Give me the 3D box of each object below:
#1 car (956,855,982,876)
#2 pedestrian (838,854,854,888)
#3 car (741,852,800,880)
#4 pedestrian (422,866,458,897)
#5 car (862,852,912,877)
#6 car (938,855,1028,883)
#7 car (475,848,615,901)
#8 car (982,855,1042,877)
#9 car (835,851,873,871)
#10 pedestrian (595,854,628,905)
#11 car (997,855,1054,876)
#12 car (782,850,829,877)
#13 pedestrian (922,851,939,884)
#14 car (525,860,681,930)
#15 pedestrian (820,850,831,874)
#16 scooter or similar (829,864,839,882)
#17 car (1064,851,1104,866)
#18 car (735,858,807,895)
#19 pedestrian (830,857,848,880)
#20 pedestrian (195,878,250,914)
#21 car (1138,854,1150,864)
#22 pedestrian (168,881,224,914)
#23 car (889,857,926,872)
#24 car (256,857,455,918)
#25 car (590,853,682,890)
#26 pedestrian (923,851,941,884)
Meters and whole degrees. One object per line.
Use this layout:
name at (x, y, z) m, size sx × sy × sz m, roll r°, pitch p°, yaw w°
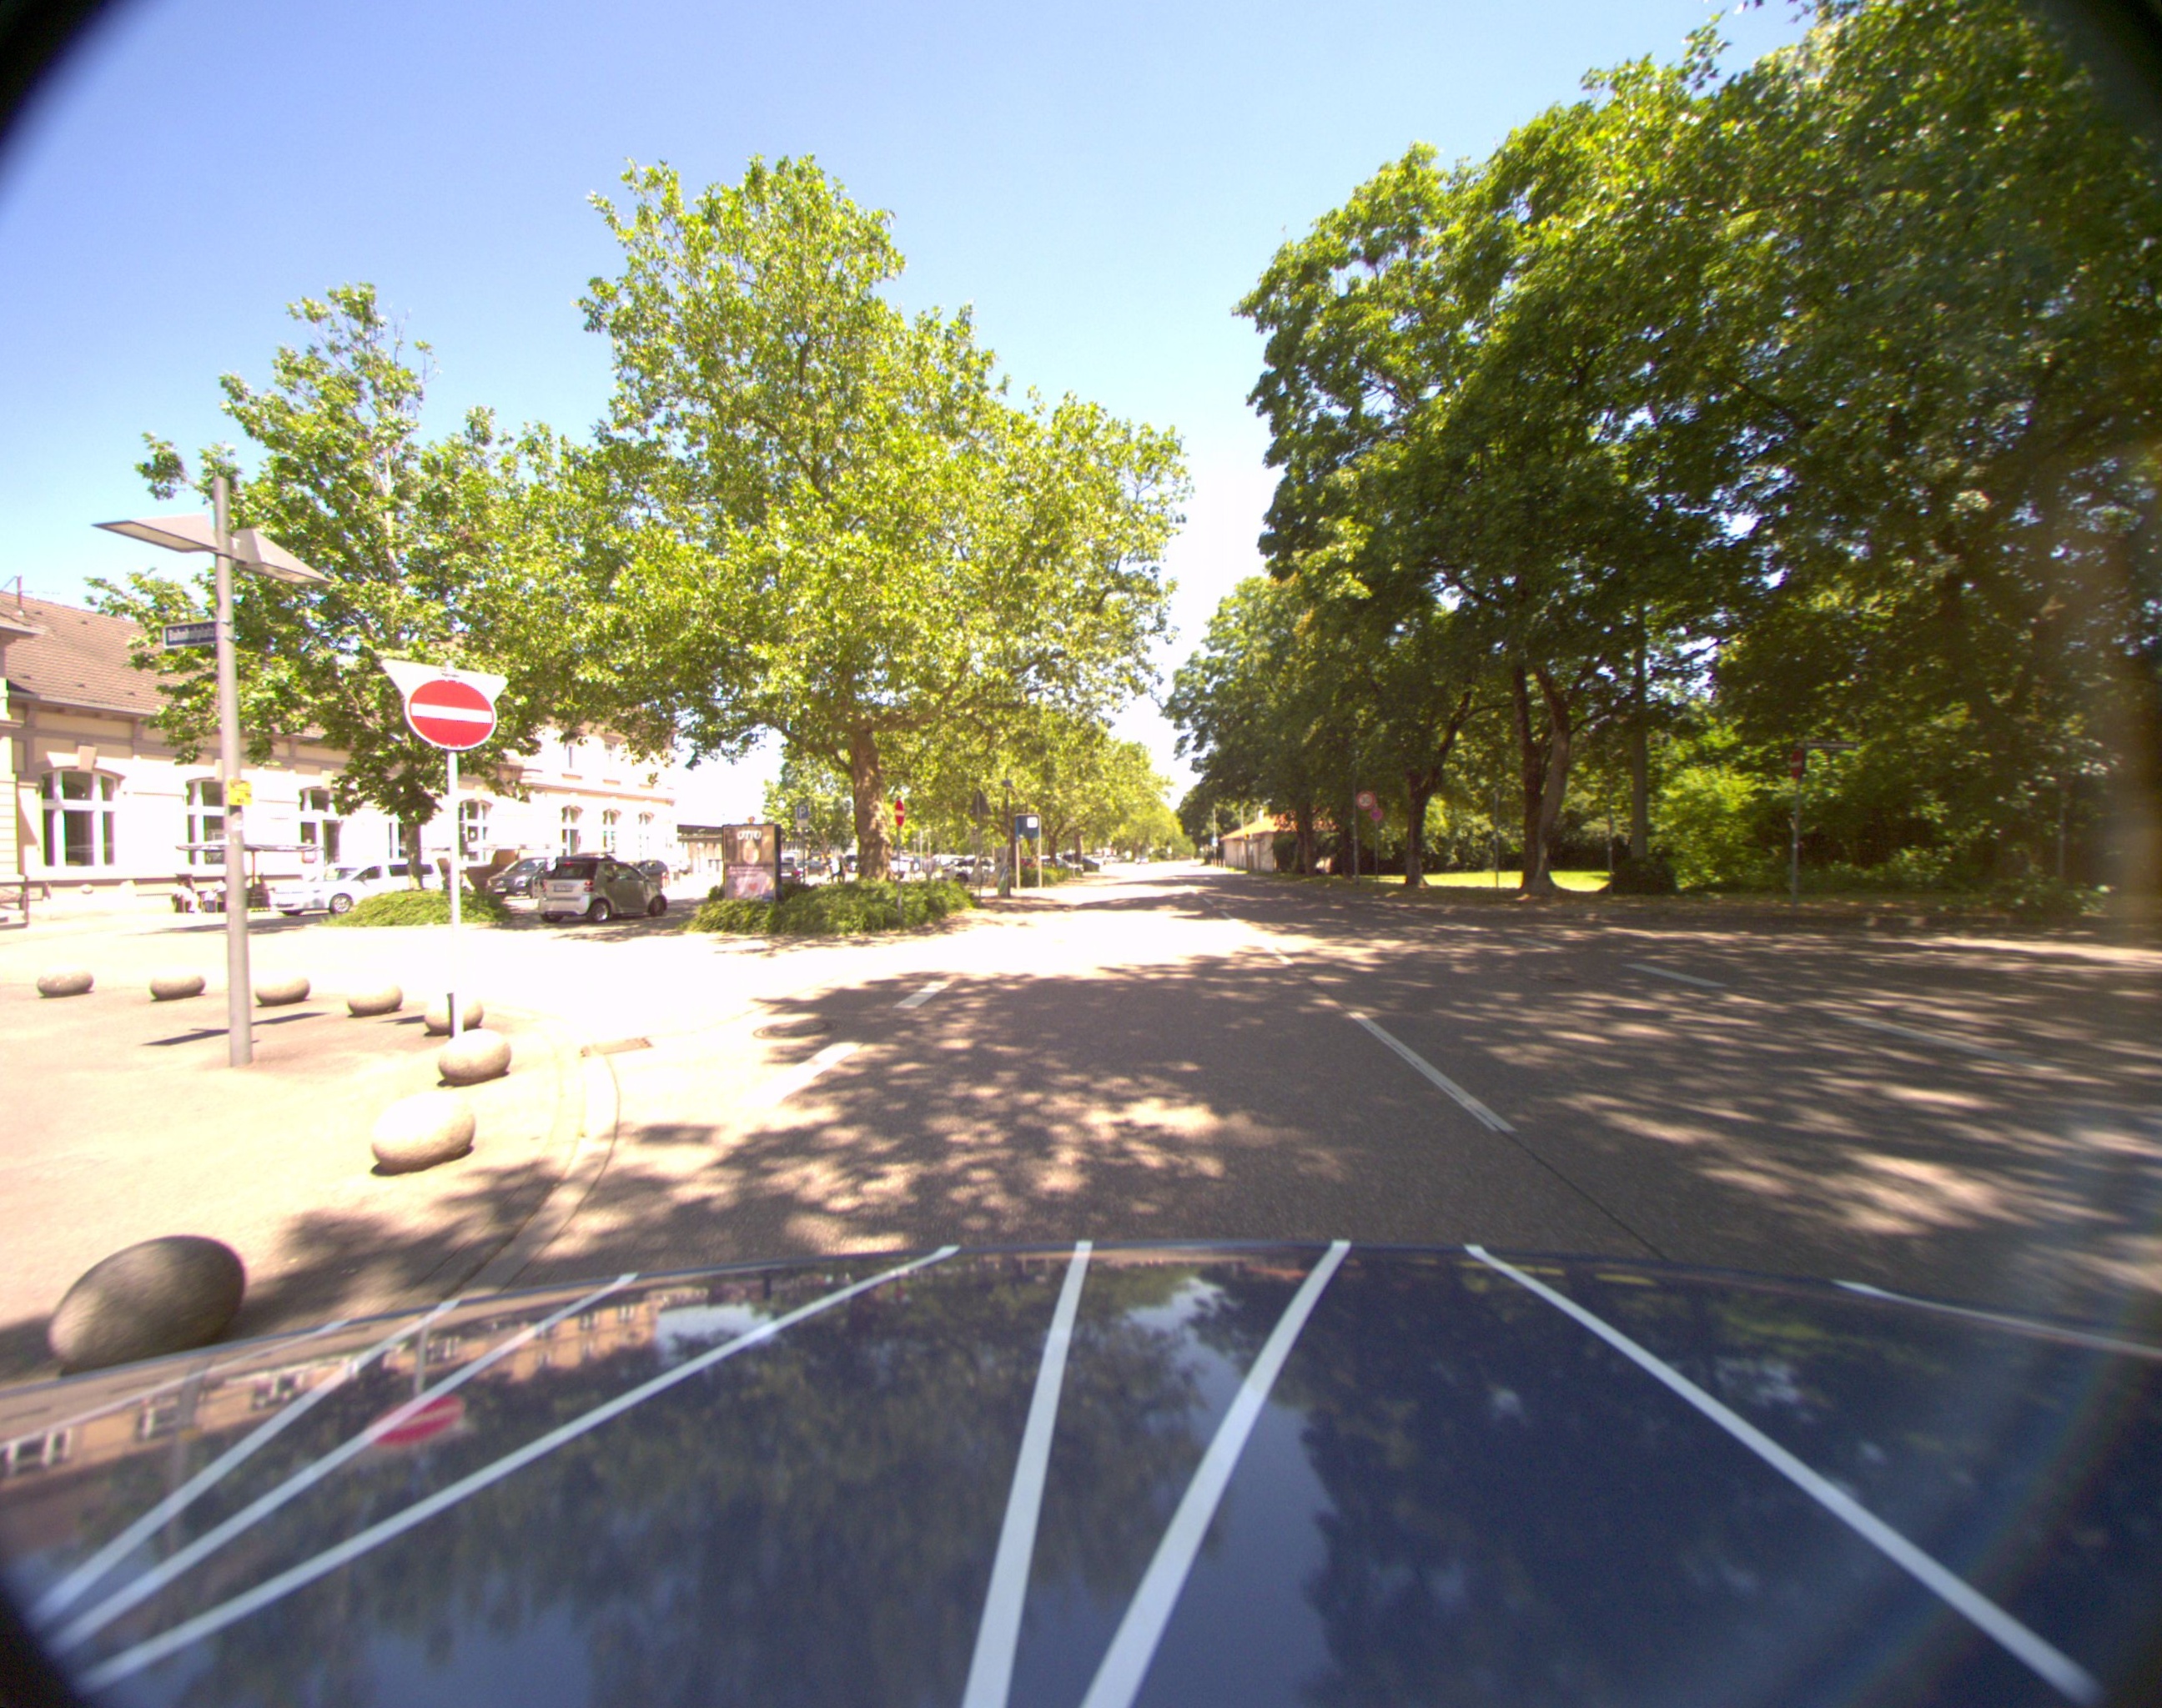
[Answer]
car at (-10.800, 1.102, 73.165) m, size 1.740 × 1.882 × 3.993 m, roll -1°, pitch 0°, yaw -18°
pedestrian at (-10.944, 0.775, 35.365) m, size 0.590 × 1.539 × 0.610 m, roll 0°, pitch 1°, yaw -8°
car at (-22.414, 0.853, 55.161) m, size 2.003 × 1.829 × 5.317 m, roll -3°, pitch 0°, yaw 0°
pedestrian at (-29.390, 1.266, 34.849) m, size 0.881 × 1.363 × 0.852 m, roll 1°, pitch 1°, yaw 1°
car at (-13.653, 0.717, 53.327) m, size 1.804 × 1.596 × 4.051 m, roll -3°, pitch 3°, yaw -40°
car at (-5.507, 0.803, 42.633) m, size 4.780 × 1.409 × 1.784 m, roll -1°, pitch 1°, yaw -14°
car at (-23.891, 0.877, 34.246) m, size 2.092 × 2.111 × 5.826 m, roll -2°, pitch 0°, yaw 0°
car at (-4.845, 0.825, 53.415) m, size 3.881 × 1.452 × 1.633 m, roll -1°, pitch 1°, yaw -23°
car at (-22.683, 0.642, 76.125) m, size 1.998 × 1.779 × 4.248 m, roll -3°, pitch 1°, yaw 6°
pedestrian at (-16.197, 0.871, 26.215) m, size 0.775 × 1.707 × 0.812 m, roll -2°, pitch 1°, yaw -42°
car at (-4.137, 0.842, 56.793) m, size 3.881 × 1.452 × 1.633 m, roll -1°, pitch 1°, yaw -23°
car at (-22.295, 0.724, 61.723) m, size 2.003 × 1.978 × 4.602 m, roll -3°, pitch 0°, yaw 0°
pedestrian at (-8.325, 0.743, 42.070) m, size 0.839 × 1.760 × 0.850 m, roll -1°, pitch 1°, yaw -14°
car at (-12.110, 0.981, 19.473) m, size 1.599 × 1.584 × 3.109 m, roll -1°, pitch 1°, yaw 13°
pedestrian at (-21.706, 0.705, 64.448) m, size 0.628 × 1.978 × 0.617 m, roll -3°, pitch 1°, yaw 0°
scooter or similar at (-15.562, 1.188, 47.820) m, size 0.438 × 1.095 × 0.402 m, roll -2°, pitch 1°, yaw -42°
car at (0.282, 0.447, 77.964) m, size 3.876 × 1.452 × 1.635 m, roll -1°, pitch 1°, yaw -8°
car at (-15.102, 1.040, 36.879) m, size 1.804 × 1.534 × 4.516 m, roll -3°, pitch 3°, yaw -41°
pedestrian at (-15.106, 0.918, 47.466) m, size 0.802 × 1.416 × 0.689 m, roll -2°, pitch 1°, yaw -41°
pedestrian at (-29.000, 1.424, 25.691) m, size 0.881 × 1.155 × 0.852 m, roll 1°, pitch 1°, yaw 1°
car at (9.351, 0.720, 112.501) m, size 1.660 × 1.368 × 3.453 m, roll -4°, pitch 0°, yaw 6°
pedestrian at (-29.941, 1.464, 25.716) m, size 0.881 × 1.073 × 0.852 m, roll 1°, pitch 1°, yaw 1°
car at (-16.408, 1.002, 71.655) m, size 1.807 × 1.395 × 3.503 m, roll -1°, pitch 0°, yaw -45°
car at (-24.997, 1.072, 26.532) m, size 1.813 × 1.854 × 5.140 m, roll -2°, pitch 0°, yaw 3°
car at (-23.900, 0.913, 41.061) m, size 2.079 × 1.829 × 4.840 m, roll -2°, pitch 0°, yaw 0°
pedestrian at (-8.066, 0.735, 41.065) m, size 0.839 × 1.760 × 0.850 m, roll -1°, pitch 1°, yaw -15°
